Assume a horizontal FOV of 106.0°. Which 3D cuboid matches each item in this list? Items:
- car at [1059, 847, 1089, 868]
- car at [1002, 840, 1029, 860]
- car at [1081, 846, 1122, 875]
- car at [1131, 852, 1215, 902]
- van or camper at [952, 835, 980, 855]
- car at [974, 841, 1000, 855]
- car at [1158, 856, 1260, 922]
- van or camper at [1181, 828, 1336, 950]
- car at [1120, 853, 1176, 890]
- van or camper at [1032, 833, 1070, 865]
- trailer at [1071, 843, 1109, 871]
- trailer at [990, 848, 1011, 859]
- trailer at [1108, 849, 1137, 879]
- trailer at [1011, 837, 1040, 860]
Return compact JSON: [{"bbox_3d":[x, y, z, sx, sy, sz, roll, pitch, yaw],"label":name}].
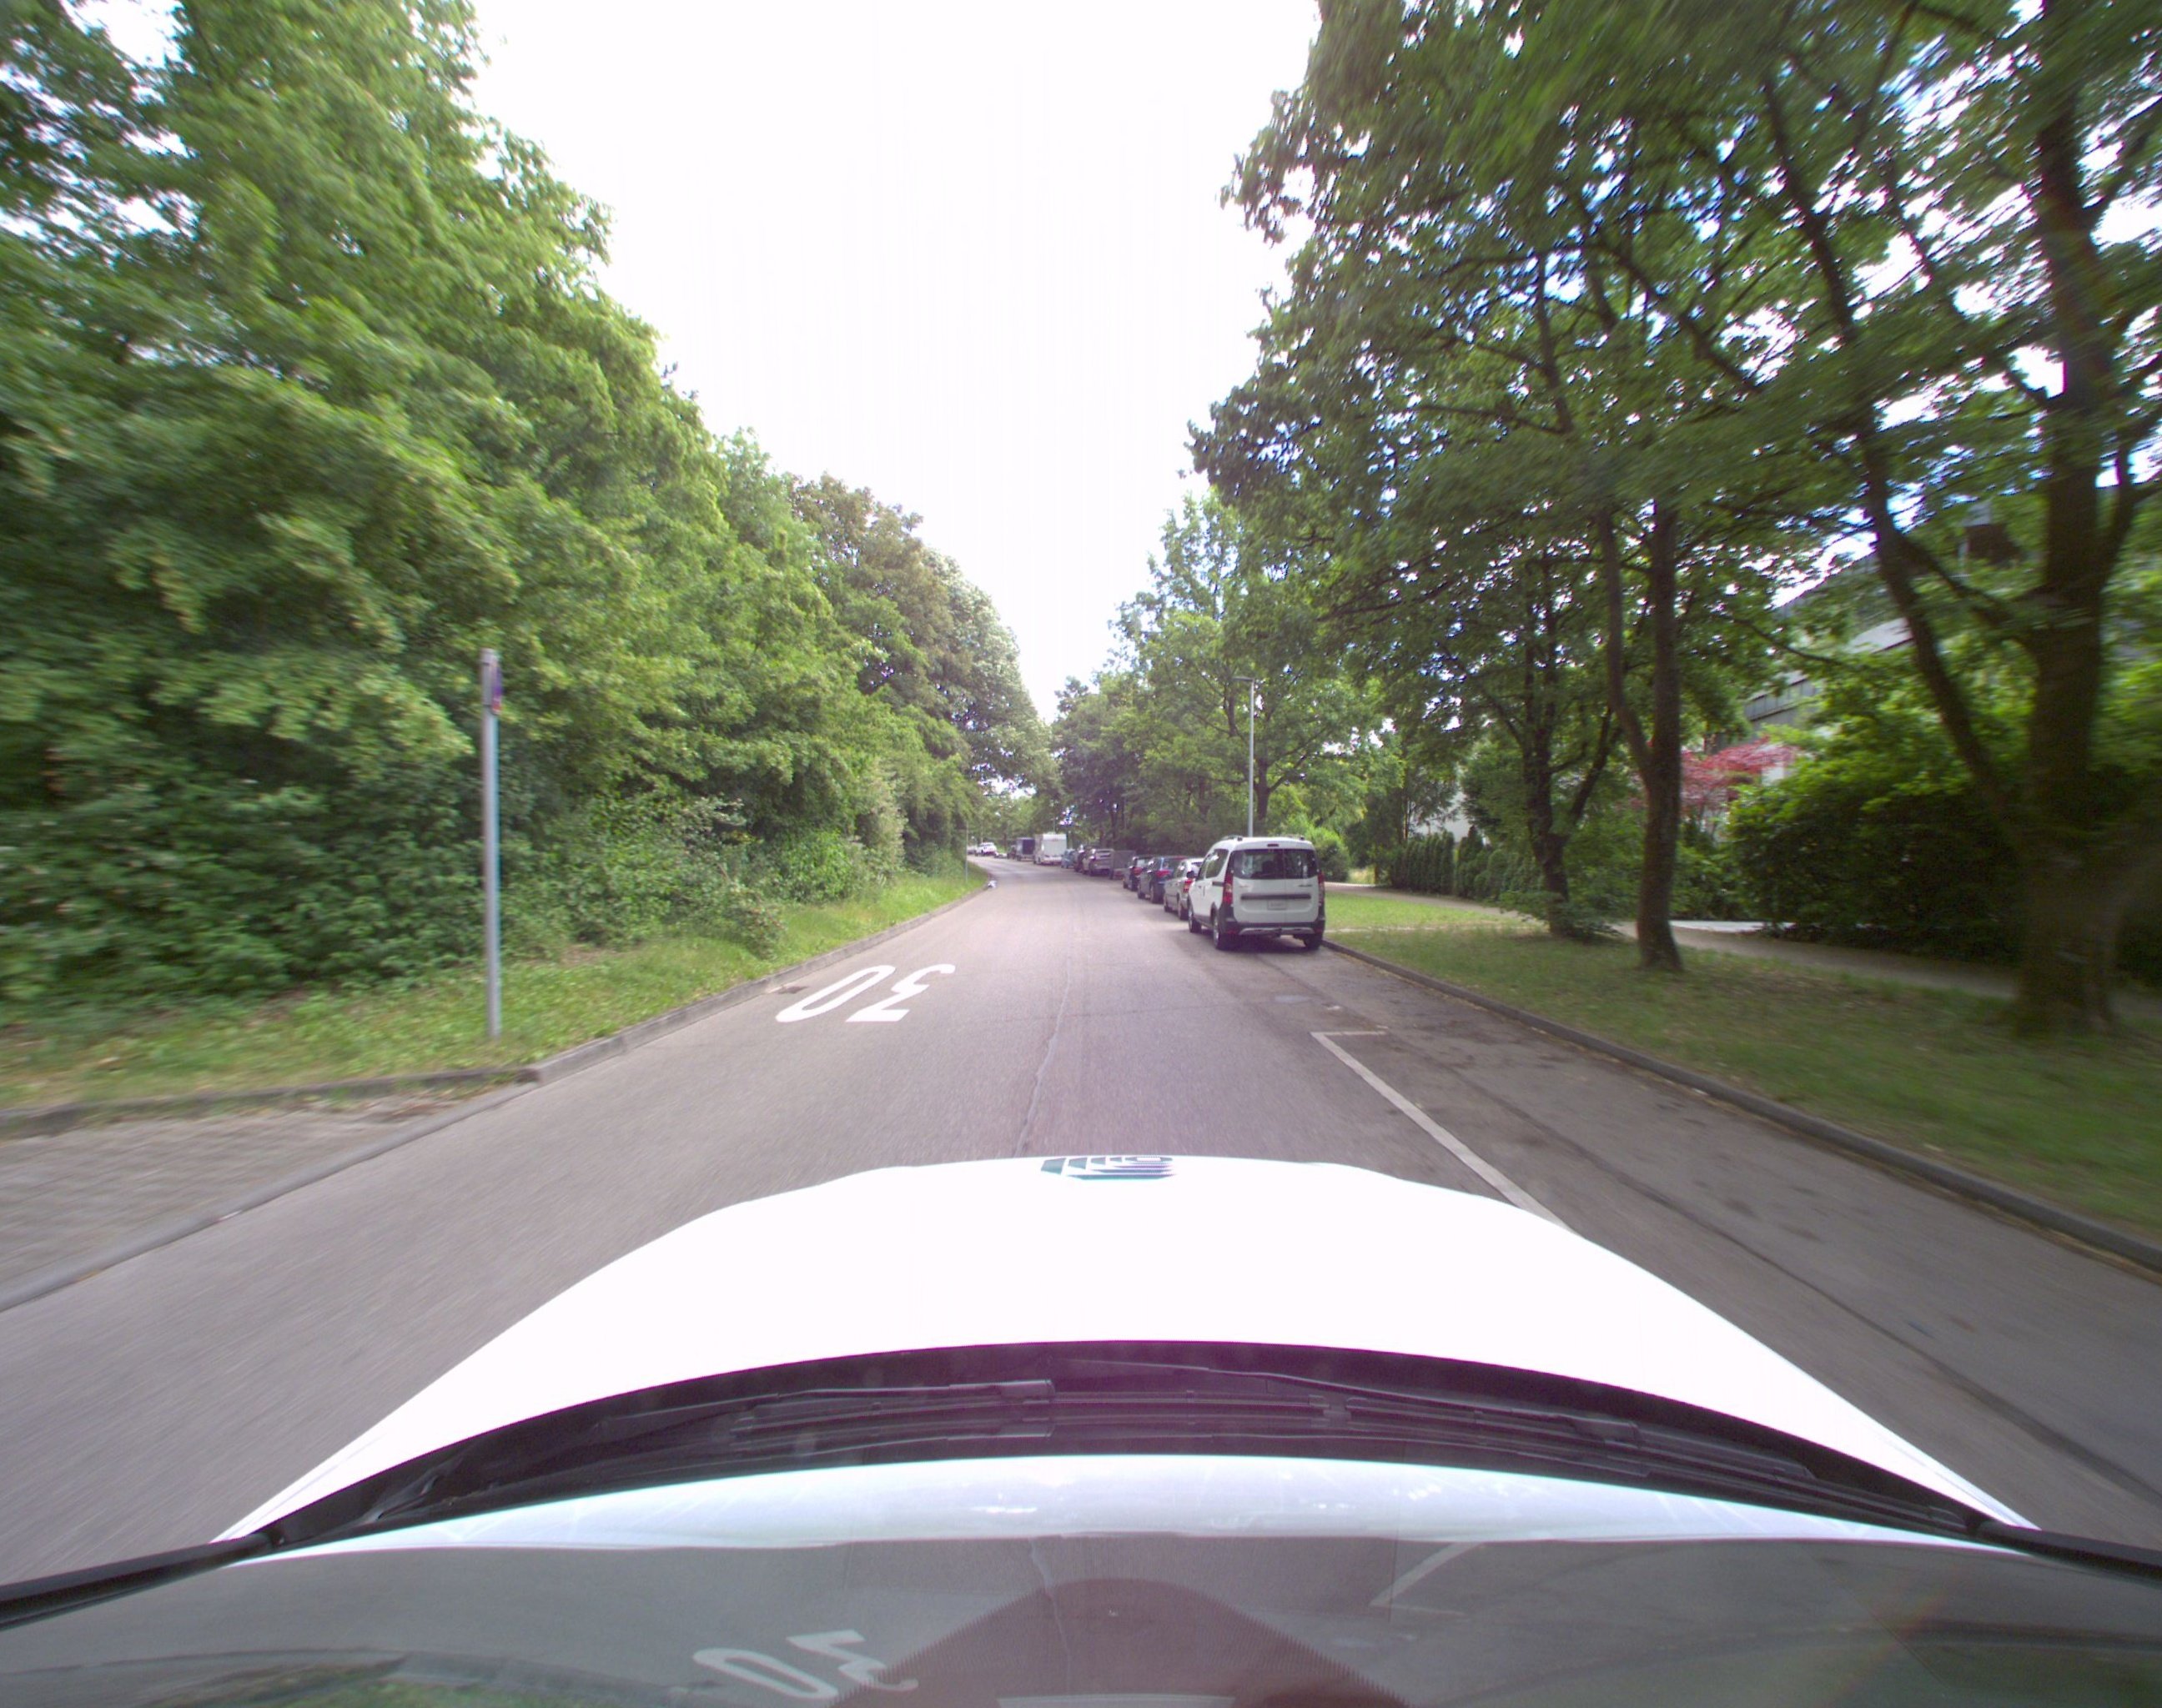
[{"bbox_3d":[-0.621,0.250,66.203,1.800,1.562,3.822,-1,1,-10],"label":"car"},{"bbox_3d":[-7.436,-0.487,92.060,2.001,2.025,3.973,-4,3,-21],"label":"car"},{"bbox_3d":[1.216,0.433,50.609,1.791,1.670,4.487,-1,-1,-9],"label":"car"},{"bbox_3d":[2.841,0.663,26.231,1.844,1.474,4.471,0,0,-5],"label":"car"},{"bbox_3d":[-15.895,-1.281,112.357,2.541,2.697,4.535,-2,2,-27],"label":"van or camper"},{"bbox_3d":[-12.071,-0.771,104.574,2.045,1.803,4.049,-1,1,-25],"label":"car"},{"bbox_3d":[3.064,0.788,20.314,1.807,1.437,4.240,1,0,-1],"label":"car"},{"bbox_3d":[2.970,0.574,14.565,1.796,1.838,4.319,0,-1,-1],"label":"van or camper"},{"bbox_3d":[2.694,0.676,33.652,1.717,1.453,3.911,0,0,-5],"label":"car"},{"bbox_3d":[-2.891,-0.496,76.239,2.484,2.876,6.861,0,0,-12],"label":"van or camper"},{"bbox_3d":[0.556,0.156,56.921,1.977,1.811,5.136,-1,1,-7],"label":"trailer"},{"bbox_3d":[-9.474,-0.092,95.672,1.656,1.086,3.977,-3,2,-17],"label":"trailer"},{"bbox_3d":[2.264,0.502,44.459,1.276,1.585,2.456,0,0,-4],"label":"trailer"},{"bbox_3d":[-5.927,-0.596,86.784,2.000,2.398,3.974,-1,1,-20],"label":"trailer"}]
